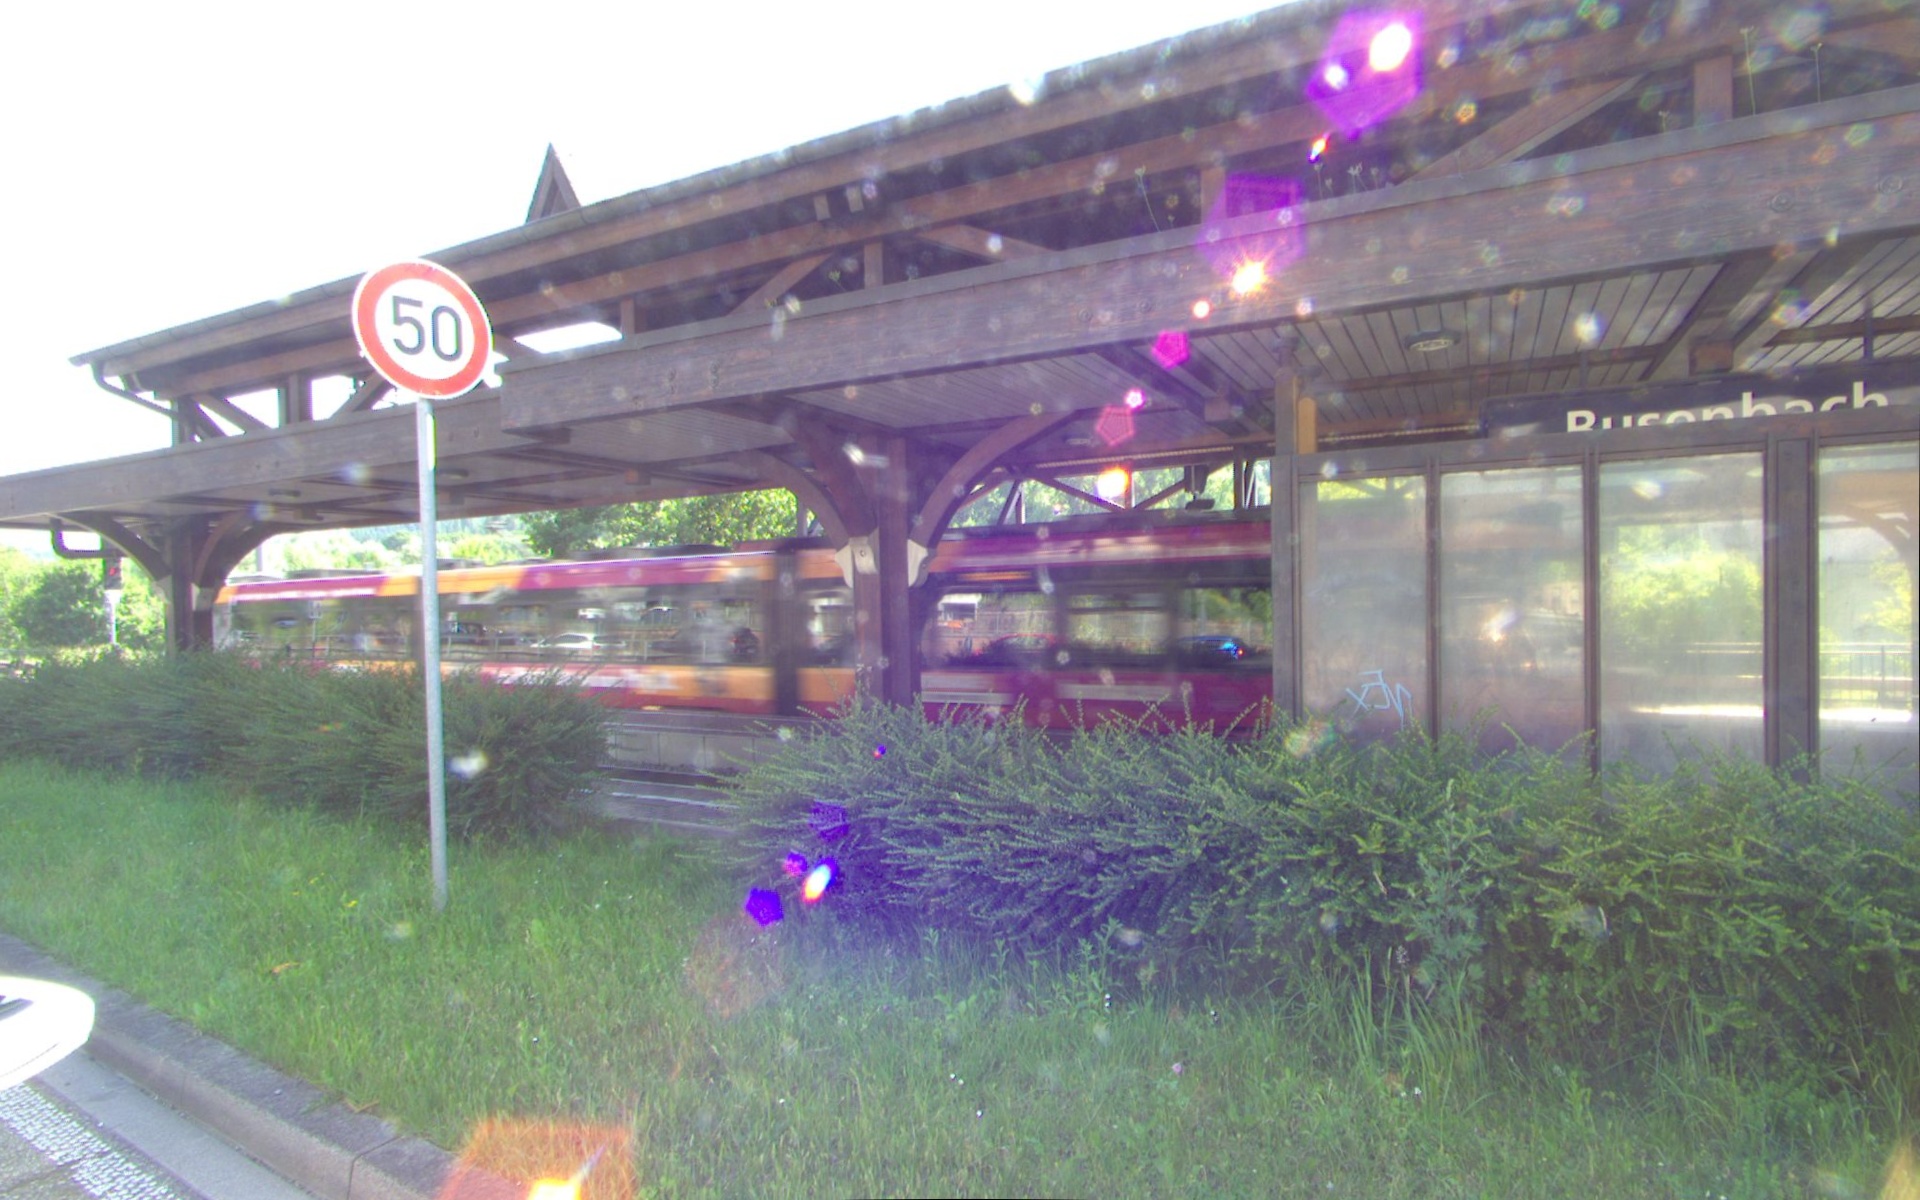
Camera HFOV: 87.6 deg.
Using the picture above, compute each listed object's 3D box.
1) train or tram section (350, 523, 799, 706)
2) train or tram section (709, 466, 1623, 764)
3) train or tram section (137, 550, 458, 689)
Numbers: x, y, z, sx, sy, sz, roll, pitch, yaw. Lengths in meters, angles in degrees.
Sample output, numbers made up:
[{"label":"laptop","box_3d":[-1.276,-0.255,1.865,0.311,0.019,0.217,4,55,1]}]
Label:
[{"label":"train or tram section","box_3d":[-9.209,0.415,22.885,11.870,3.406,2.784,-1,-2,31]},{"label":"train or tram section","box_3d":[2.162,0.270,16.248,14.139,3.408,2.853,-1,-1,30]},{"label":"train or tram section","box_3d":[-19.395,0.541,28.869,11.868,3.407,2.753,0,-2,31]}]
